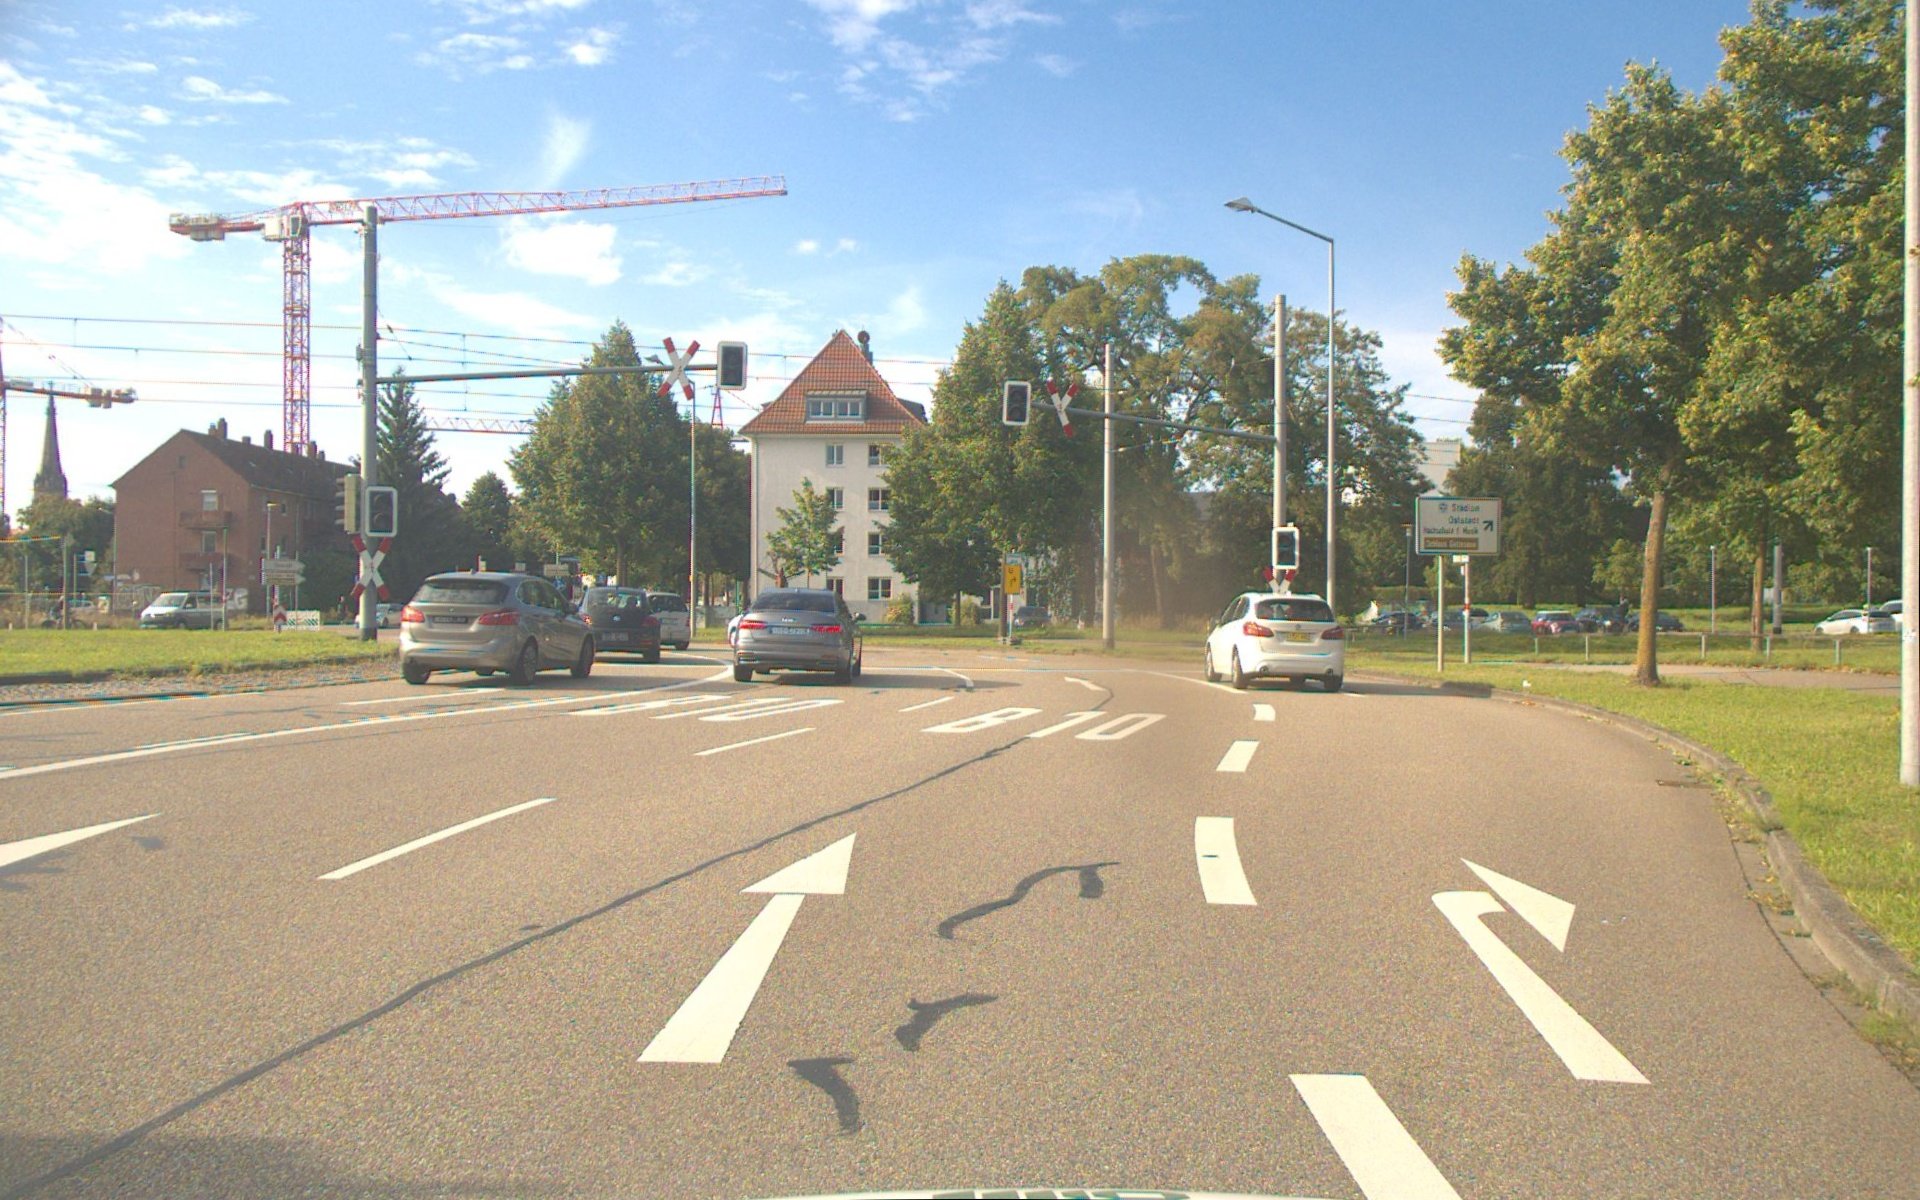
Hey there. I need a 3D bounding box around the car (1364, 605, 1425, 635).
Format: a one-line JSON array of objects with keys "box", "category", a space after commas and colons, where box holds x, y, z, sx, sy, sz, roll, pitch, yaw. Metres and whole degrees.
[{"box": [20.542, 0.926, 78.341, 1.816, 1.383, 4.734, 0, 0, 2], "category": "car"}]

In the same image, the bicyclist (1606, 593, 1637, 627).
[{"box": [27.246, 0.392, 68.109, 0.991, 1.379, 0.707, 0, 0, -30], "category": "bicyclist"}]

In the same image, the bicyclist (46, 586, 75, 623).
[{"box": [-39.294, 0.184, 72.241, 0.942, 1.602, 0.768, -1, 0, -18], "category": "bicyclist"}]

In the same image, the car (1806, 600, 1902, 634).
[{"box": [42.149, 0.815, 78.089, 1.819, 1.542, 4.463, 0, 0, -6], "category": "car"}]

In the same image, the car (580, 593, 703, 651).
[{"box": [-8.812, 0.581, 45.454, 1.833, 1.504, 4.405, 2, -1, -32], "category": "car"}]

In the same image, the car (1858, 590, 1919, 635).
[{"box": [44.877, 0.579, 78.333, 2.260, 2.042, 5.116, 0, 0, 5], "category": "car"}]

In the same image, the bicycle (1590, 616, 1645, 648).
[{"box": [27.066, 1.310, 68.057, 2.493, 1.244, 0.707, 0, 0, -30], "category": "bicycle"}]

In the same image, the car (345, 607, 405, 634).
[{"box": [-35.277, 1.248, 99.887, 1.856, 1.570, 4.661, 1, -1, 2], "category": "car"}]

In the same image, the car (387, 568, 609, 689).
[{"box": [-6.673, 0.417, 24.341, 1.730, 1.600, 4.069, 1, -1, 6], "category": "car"}]

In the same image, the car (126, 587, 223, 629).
[{"box": [-37.476, 0.418, 79.069, 1.855, 1.936, 4.664, 1, -1, 8], "category": "car"}]

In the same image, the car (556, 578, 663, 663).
[{"box": [-7.084, 0.436, 33.745, 1.958, 1.568, 3.989, 2, -1, -11], "category": "car"}]

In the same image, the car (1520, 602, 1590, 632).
[{"box": [28.218, 0.815, 78.581, 1.816, 1.386, 4.470, 0, 0, 2], "category": "car"}]

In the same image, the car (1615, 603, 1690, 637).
[{"box": [32.853, 0.944, 78.557, 1.816, 1.542, 4.470, 0, 0, 2], "category": "car"}]

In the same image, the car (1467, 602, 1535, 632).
[{"box": [25.722, 0.818, 78.753, 1.816, 1.382, 4.835, 0, 0, 2], "category": "car"}]

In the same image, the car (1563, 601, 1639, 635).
[{"box": [30.304, 0.830, 78.363, 1.816, 1.542, 4.946, 0, 0, 2], "category": "car"}]

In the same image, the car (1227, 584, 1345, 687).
[{"box": [5.590, 0.601, 28.427, 1.811, 1.600, 4.458, 1, -1, 11], "category": "car"}]

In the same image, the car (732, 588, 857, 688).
[{"box": [-2.616, 0.599, 27.017, 1.814, 1.470, 4.711, 1, -1, -4], "category": "car"}]

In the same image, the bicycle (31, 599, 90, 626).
[{"box": [-39.281, 0.542, 72.244, 2.110, 1.157, 0.768, -1, 0, -19], "category": "bicycle"}]

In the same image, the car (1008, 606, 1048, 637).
[{"box": [3.201, 1.018, 78.413, 1.816, 1.405, 4.516, 0, 0, 2], "category": "car"}]
